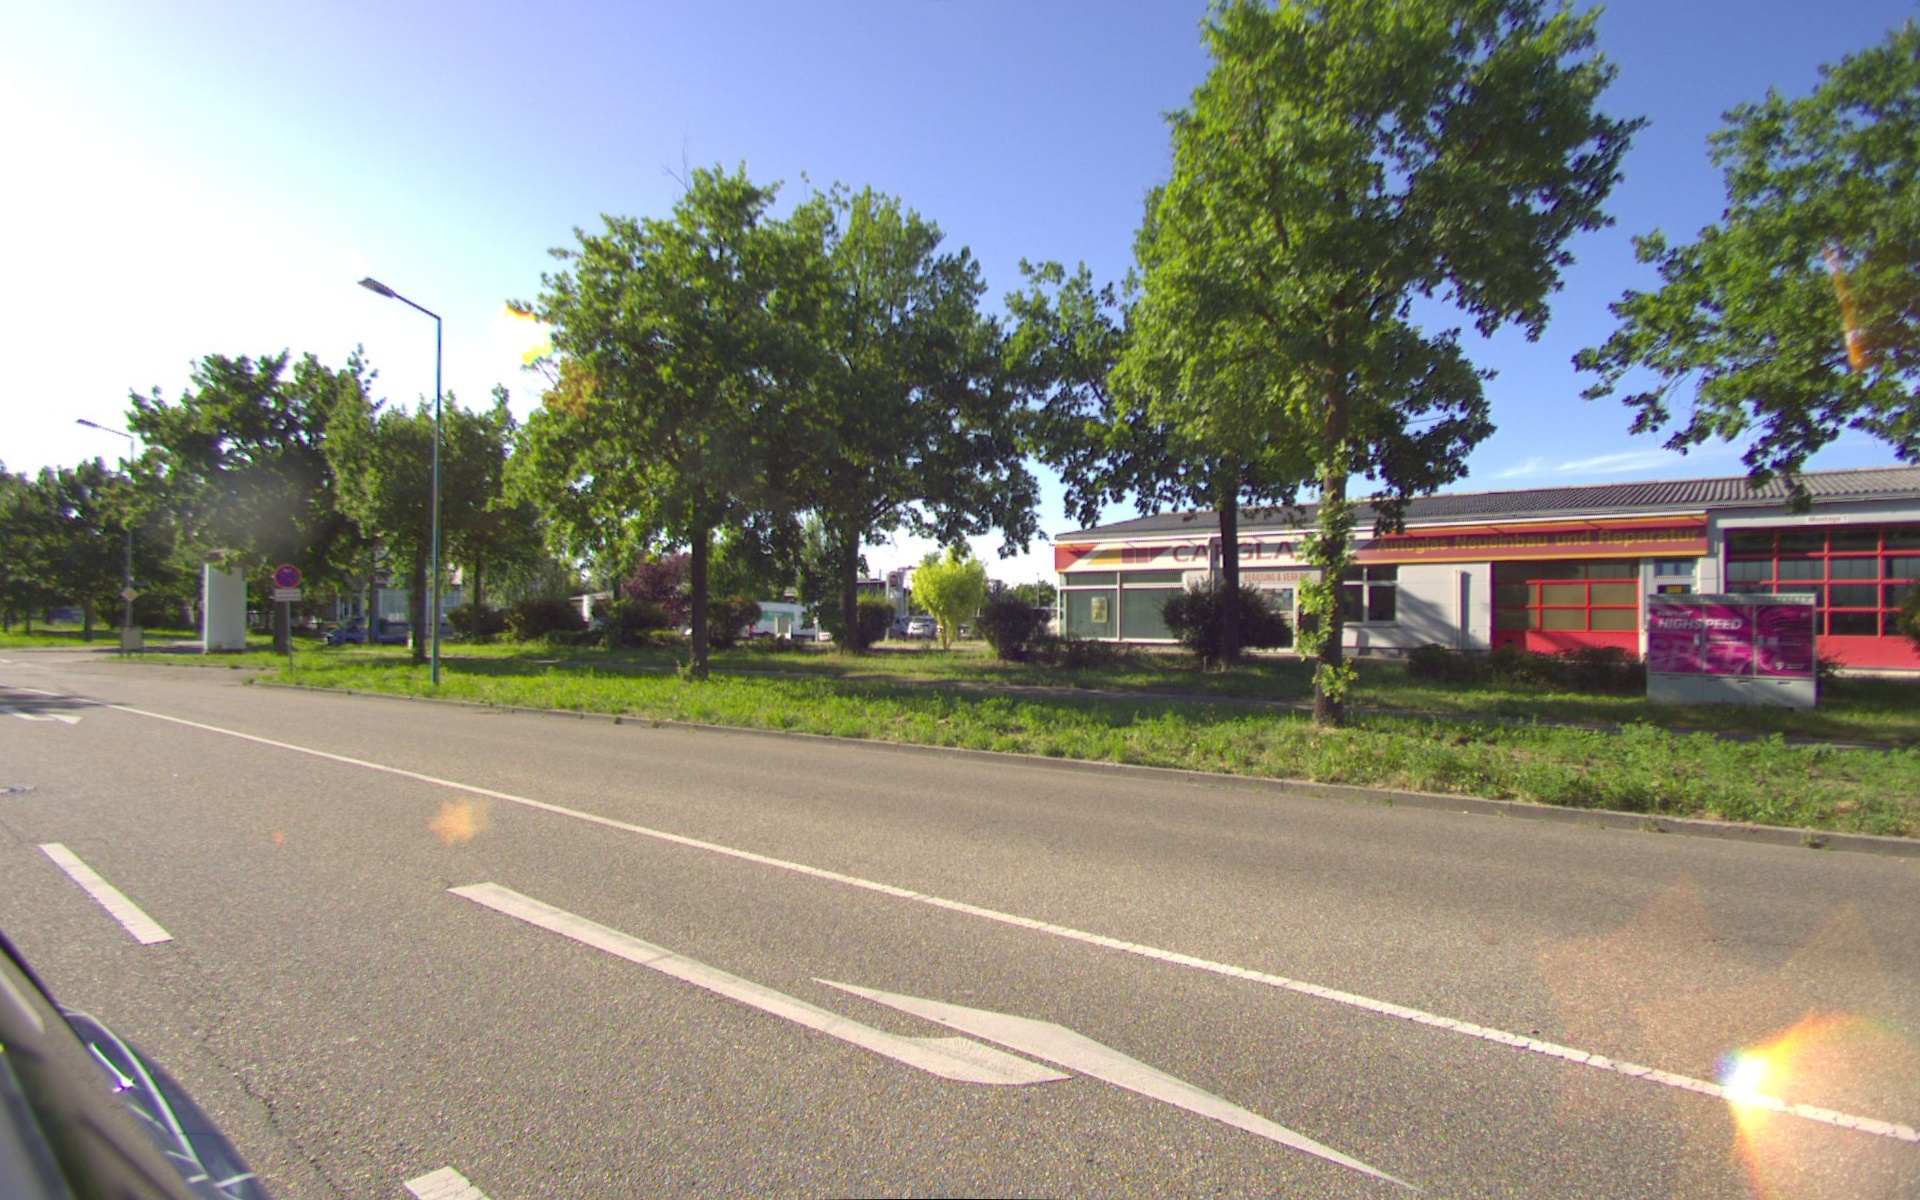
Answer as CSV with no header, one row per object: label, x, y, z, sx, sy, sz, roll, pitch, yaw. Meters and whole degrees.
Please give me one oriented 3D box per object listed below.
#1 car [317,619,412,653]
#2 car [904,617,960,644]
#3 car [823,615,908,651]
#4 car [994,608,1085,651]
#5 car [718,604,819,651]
car,-35.970,2.156,61.234,1.999,1.847,4.578,-1,0,41
car,-1.870,2.050,68.623,1.761,1.684,3.811,-1,0,40
car,-5.144,1.767,55.789,1.989,1.795,4.583,-1,0,40
car,3.214,1.156,40.604,1.734,1.583,3.769,-3,-1,40
car,-11.451,1.598,61.000,2.406,2.574,5.952,-1,0,36
